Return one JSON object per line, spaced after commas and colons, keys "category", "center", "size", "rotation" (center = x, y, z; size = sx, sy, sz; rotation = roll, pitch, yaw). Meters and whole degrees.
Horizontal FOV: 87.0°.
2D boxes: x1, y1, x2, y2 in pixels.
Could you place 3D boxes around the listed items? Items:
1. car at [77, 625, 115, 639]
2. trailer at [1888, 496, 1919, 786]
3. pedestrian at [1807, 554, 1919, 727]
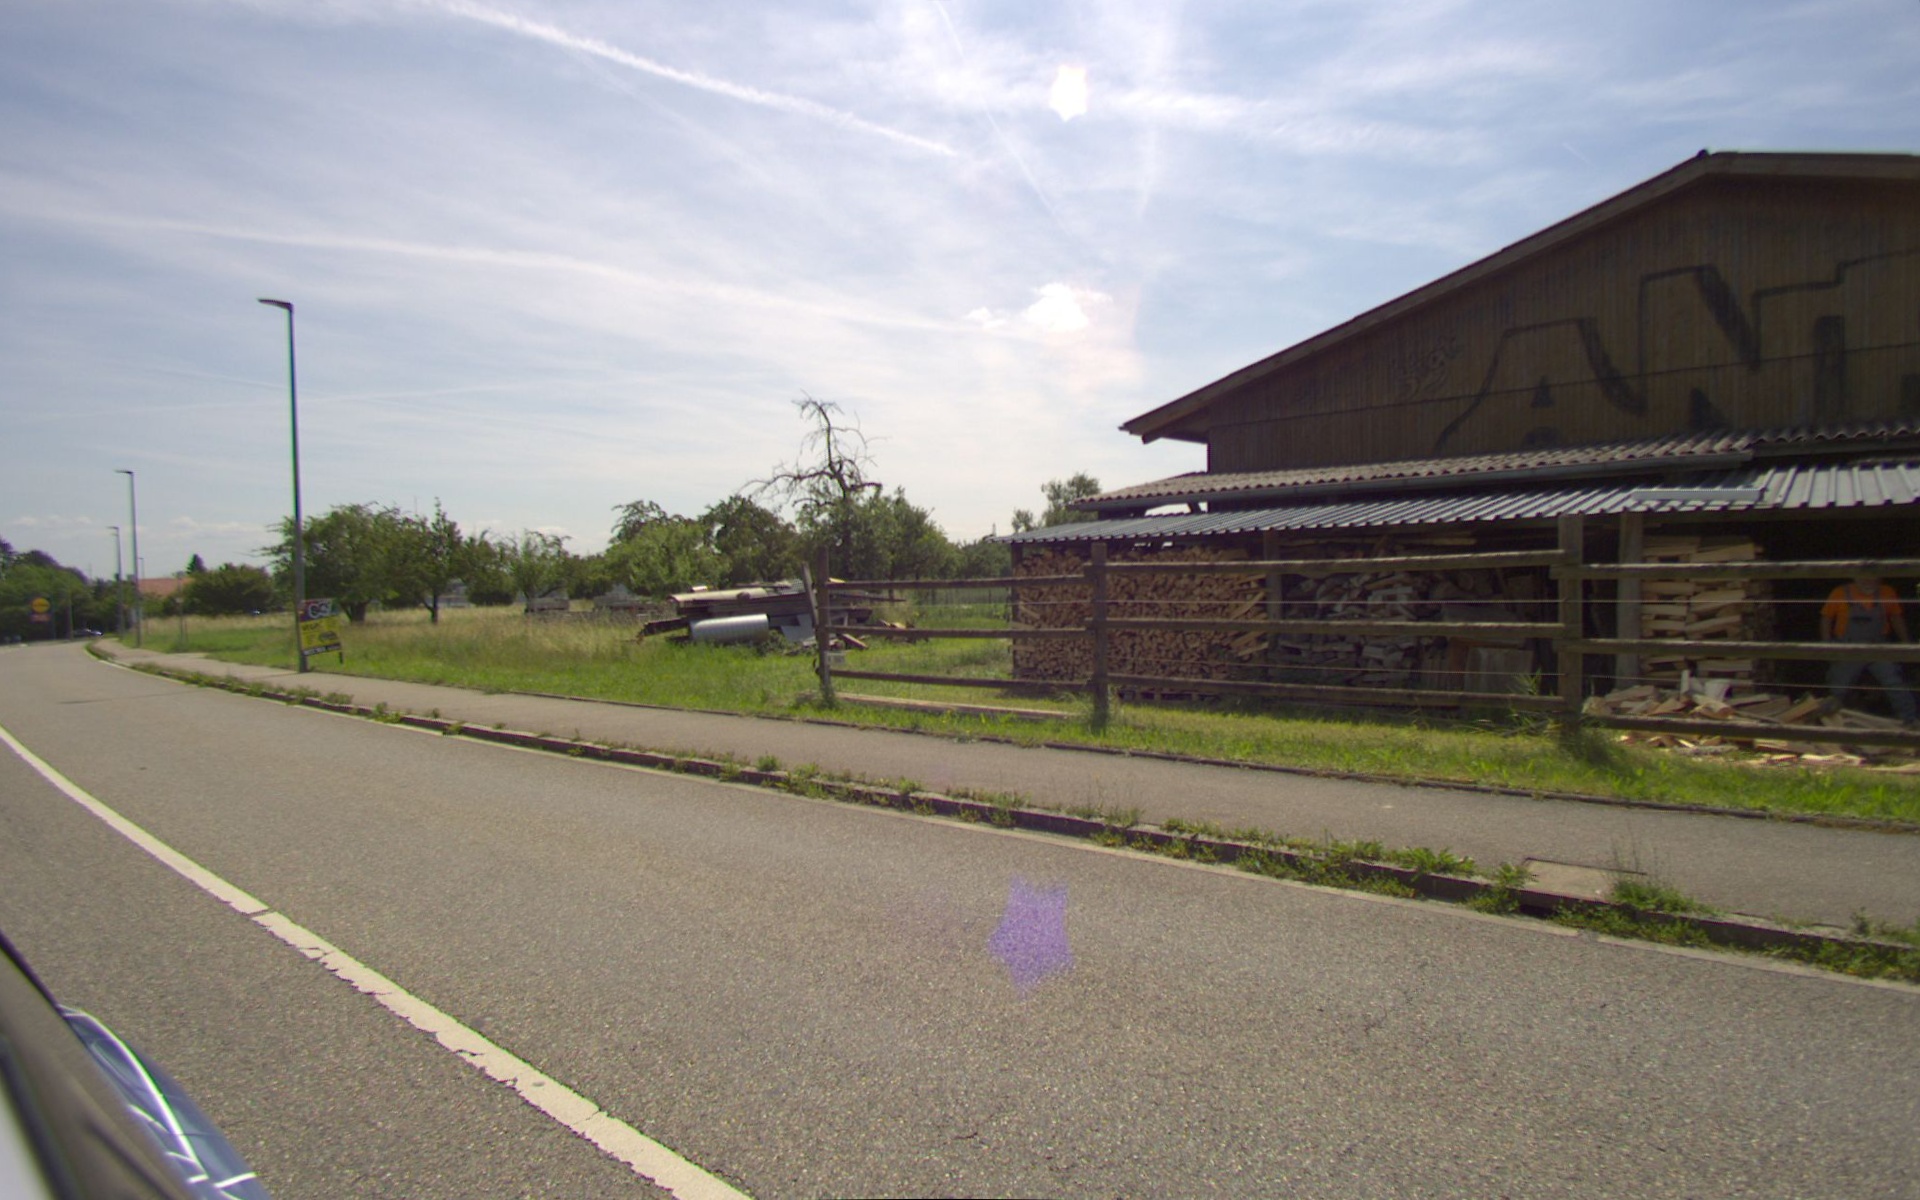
{"category": "car", "center": [-143.002, 5.267, 167.561], "size": [4.630, 2.029, 2.002], "rotation": [-2, 1, -43]}
{"category": "trailer", "center": [8.251, 0.188, 5.179], "size": [5.025, 1.716, 2.133], "rotation": [-1, 0, 41]}
{"category": "pedestrian", "center": [7.846, 0.331, 8.720], "size": [0.580, 1.418, 0.744], "rotation": [-2, 1, -42]}
